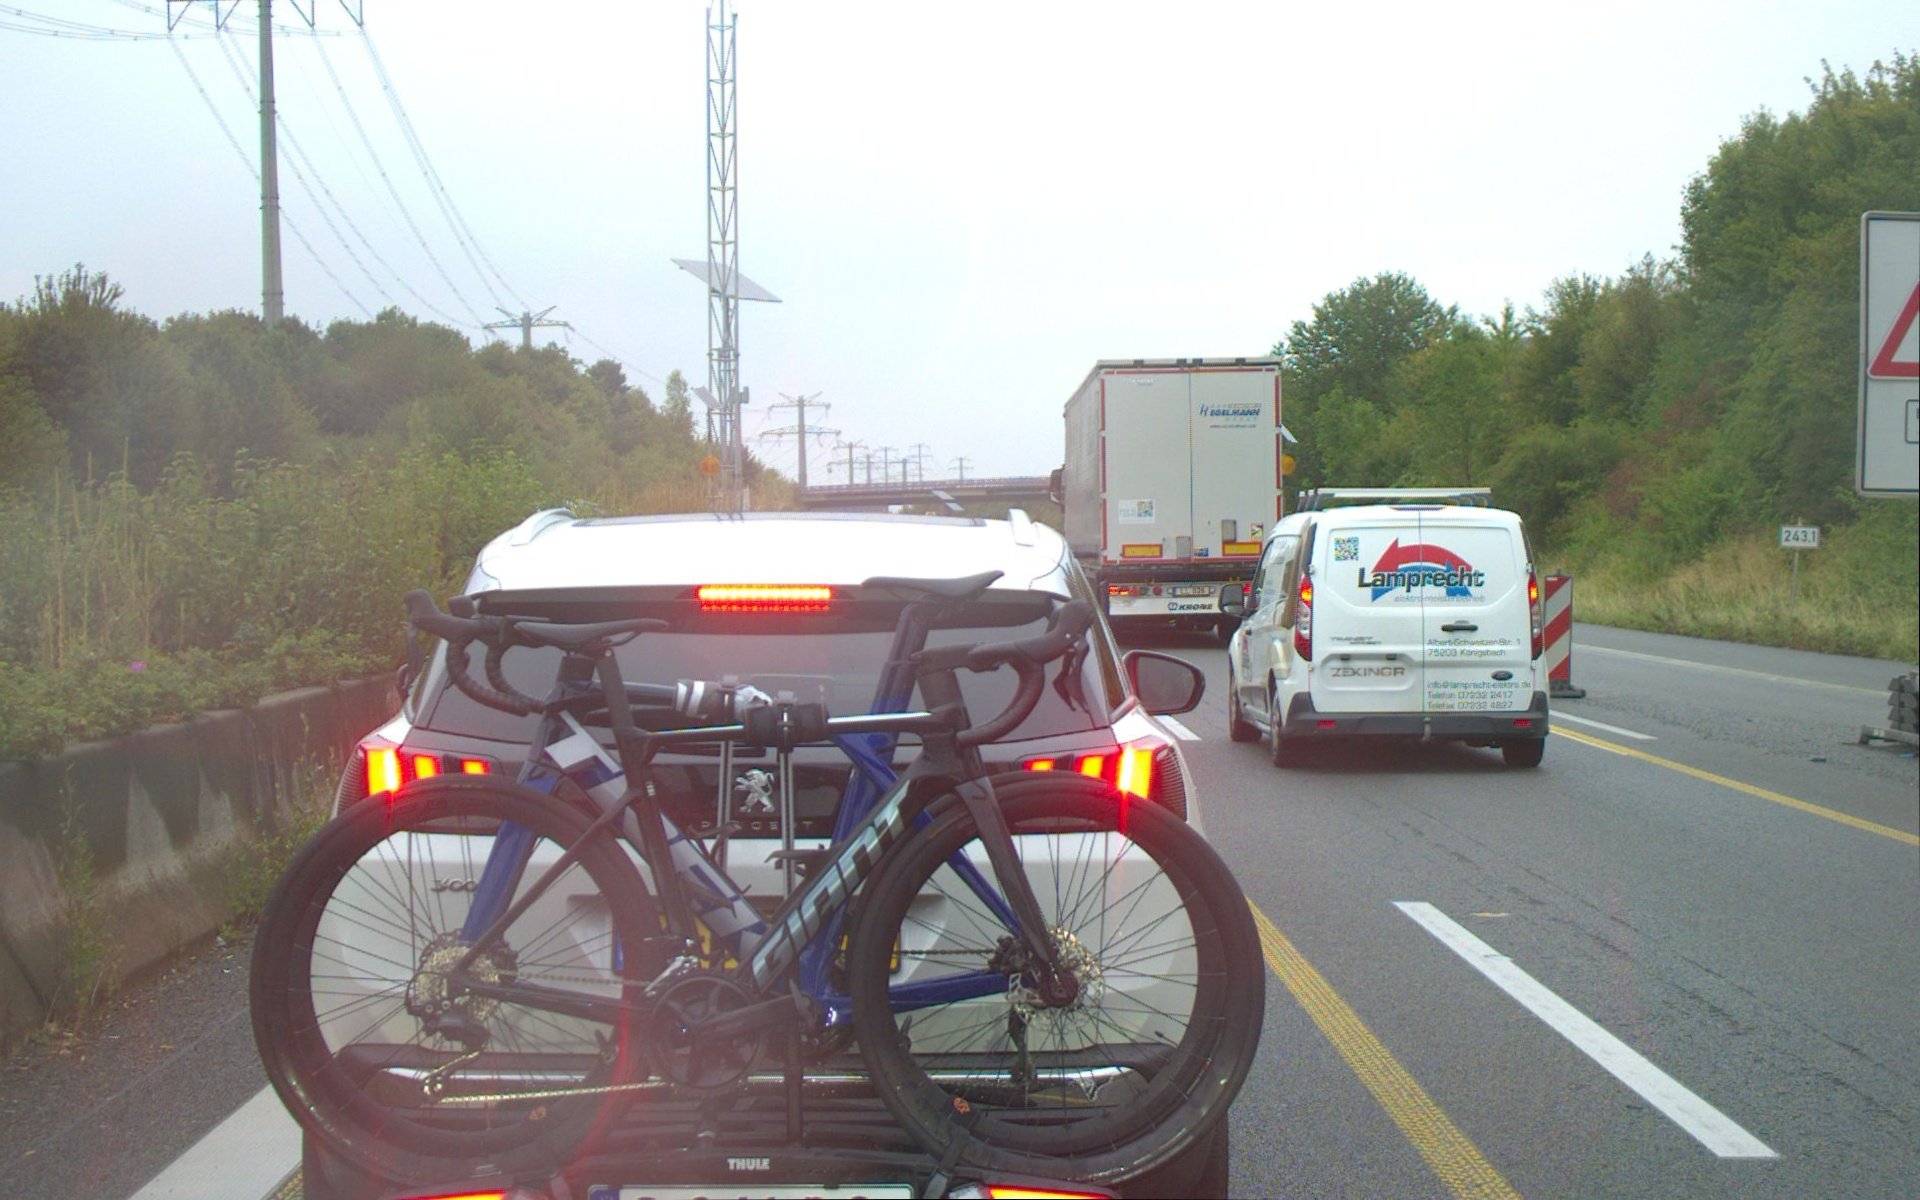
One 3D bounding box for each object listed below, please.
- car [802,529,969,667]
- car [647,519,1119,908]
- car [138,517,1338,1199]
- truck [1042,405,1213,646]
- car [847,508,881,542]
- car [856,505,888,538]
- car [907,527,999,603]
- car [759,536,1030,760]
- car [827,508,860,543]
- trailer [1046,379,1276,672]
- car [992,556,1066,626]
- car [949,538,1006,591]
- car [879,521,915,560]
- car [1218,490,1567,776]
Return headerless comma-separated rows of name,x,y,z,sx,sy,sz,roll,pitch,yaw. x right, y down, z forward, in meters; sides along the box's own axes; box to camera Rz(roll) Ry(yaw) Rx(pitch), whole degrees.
car,-0.847,-0.060,40.188,1.850,1.525,4.000,0,1,-1
car,-0.326,0.410,15.510,1.850,1.525,4.000,0,1,-1
car,-0.369,0.593,7.699,1.850,1.525,4.769,0,1,-1
truck,2.902,-1.315,61.344,2.660,4.062,6.539,0,1,-1
car,-5.657,-4.446,203.207,1.931,1.904,4.001,0,2,-1
car,-5.537,-4.946,216.095,1.931,1.966,4.001,0,2,-1
car,-0.170,-0.742,71.428,1.850,1.525,4.000,0,1,-1
car,-0.468,0.293,25.463,1.850,1.525,4.000,0,1,-1
car,-8.232,-5.249,242.801,2.257,2.416,4.001,0,2,-1
trailer,2.965,-1.165,54.580,2.692,4.062,13.634,0,1,-1
car,2.064,-0.299,104.168,2.110,1.966,4.001,0,2,-1
car,0.670,-1.401,133.859,2.148,1.966,4.001,0,2,-1
car,-3.357,-3.204,184.239,1.931,1.966,4.001,0,2,-1
car,2.944,0.169,24.363,1.829,1.833,4.656,0,1,-1
